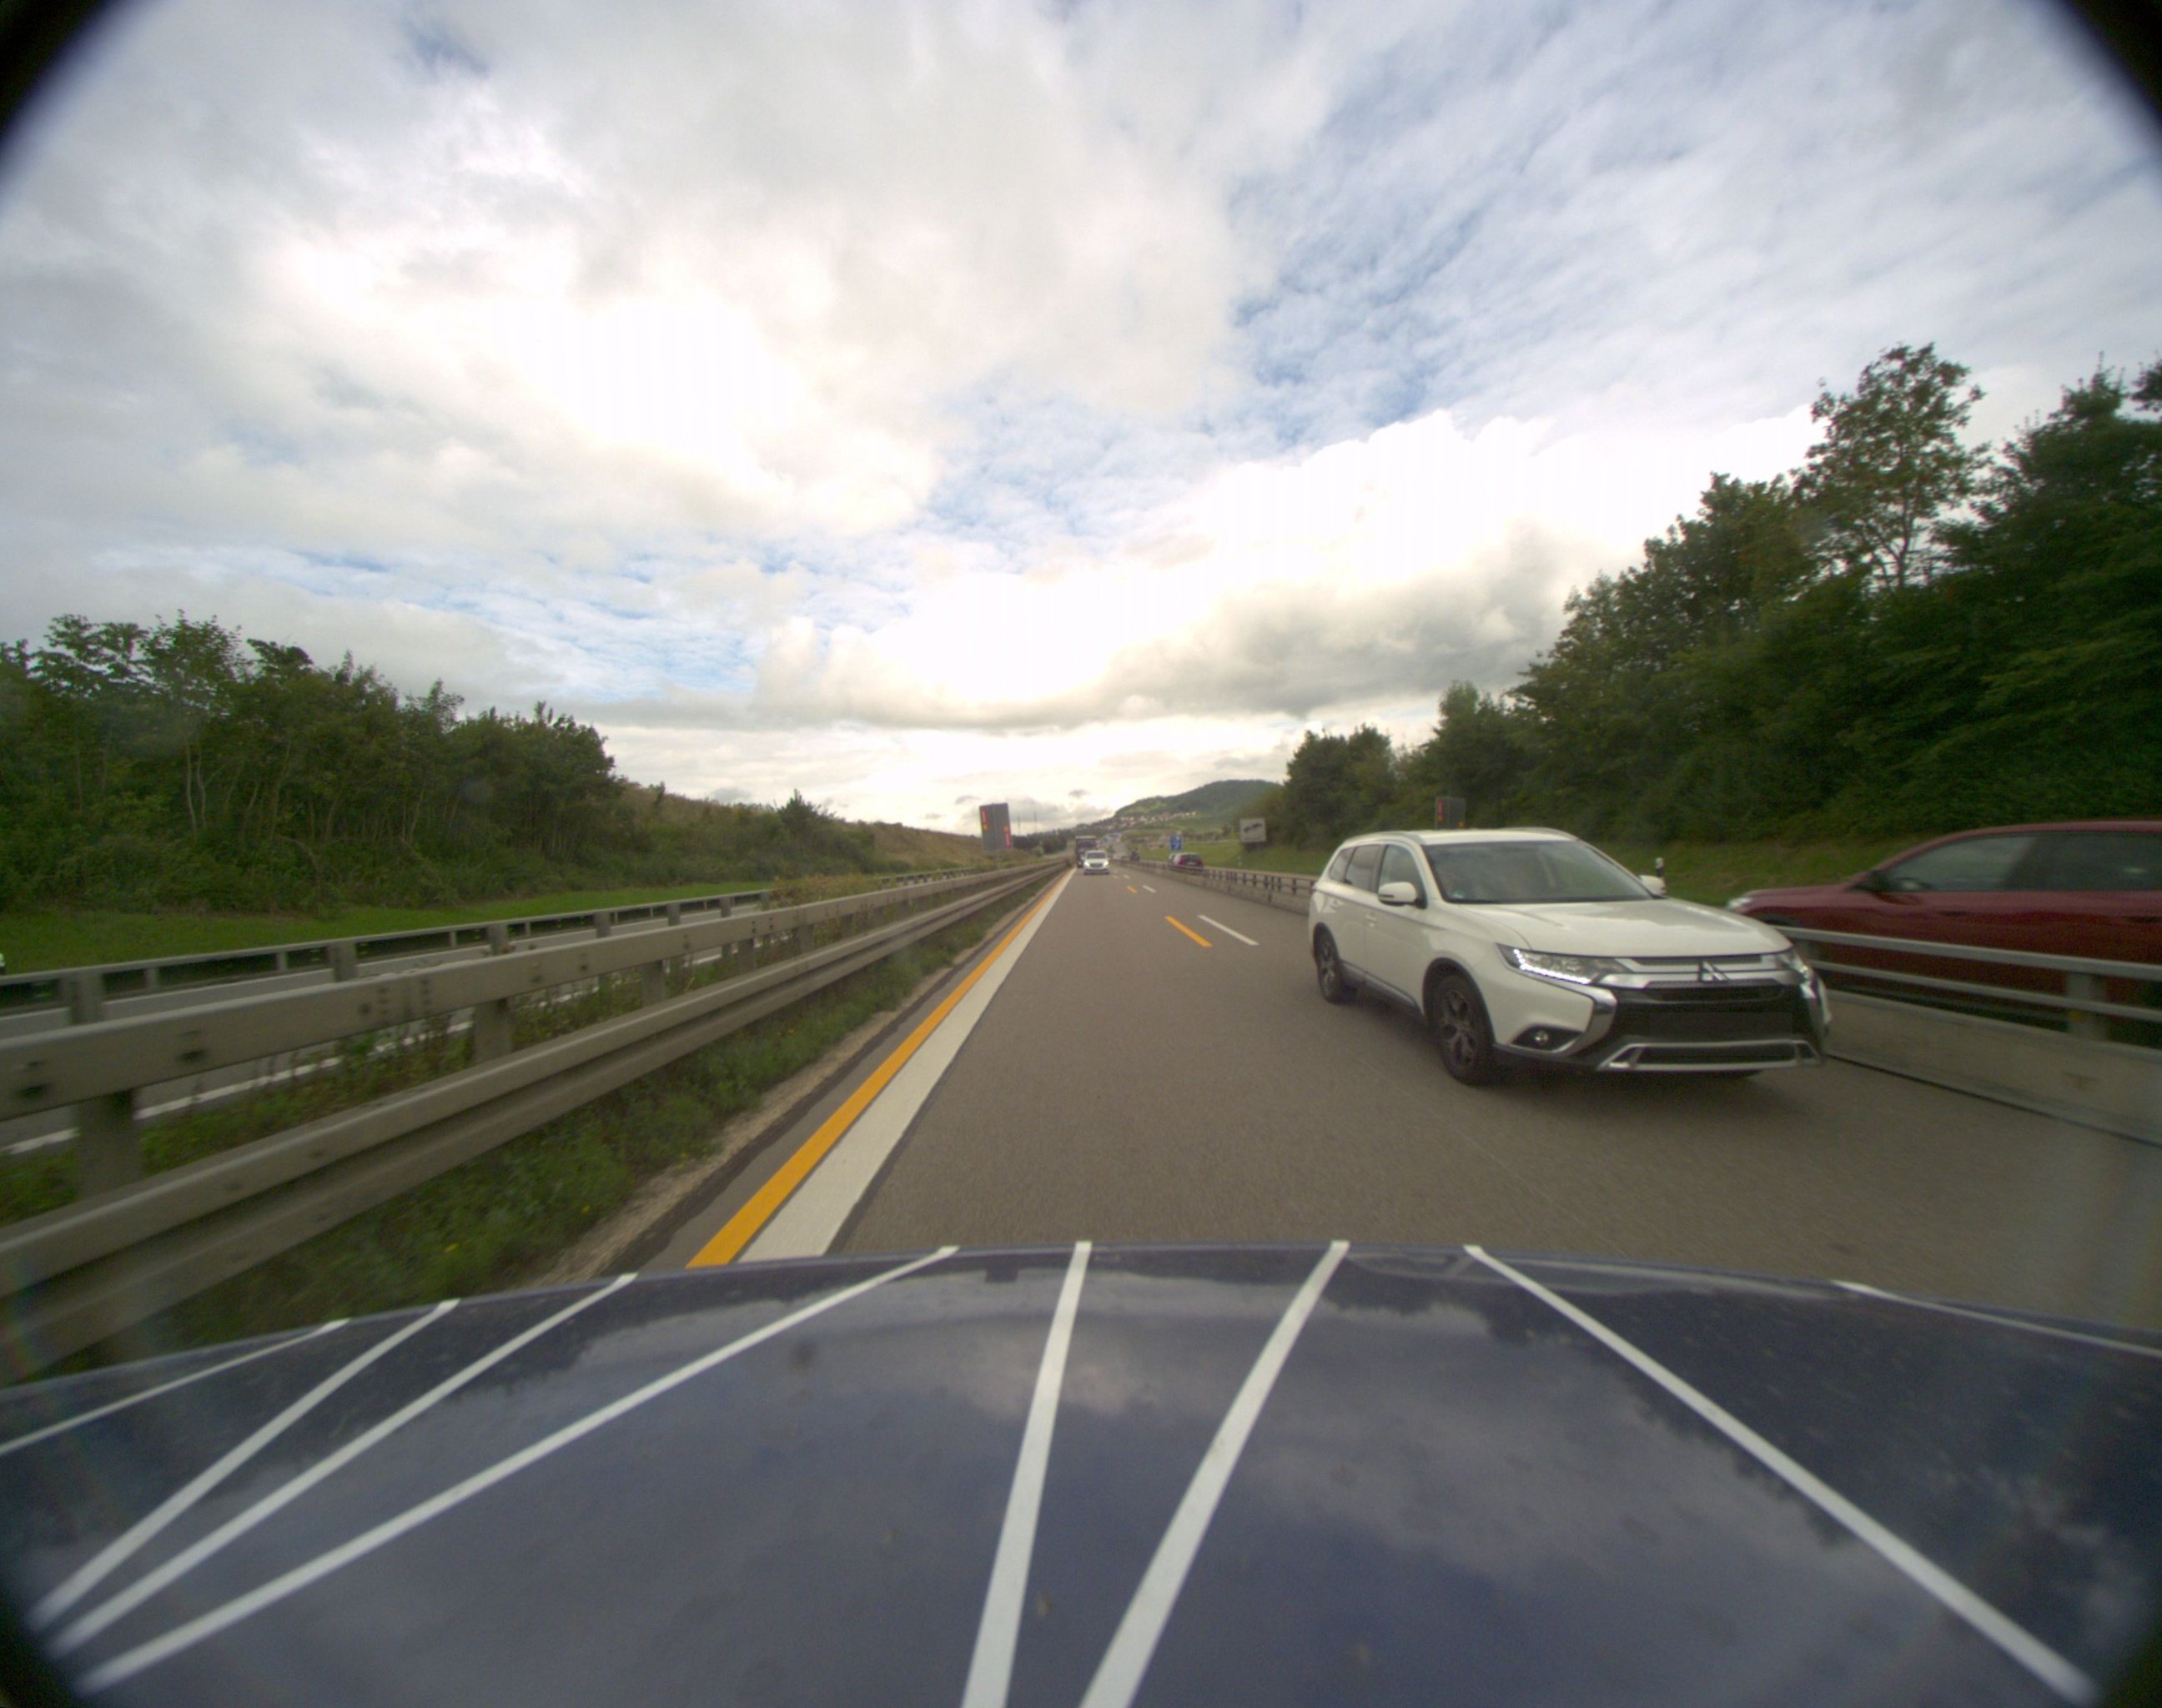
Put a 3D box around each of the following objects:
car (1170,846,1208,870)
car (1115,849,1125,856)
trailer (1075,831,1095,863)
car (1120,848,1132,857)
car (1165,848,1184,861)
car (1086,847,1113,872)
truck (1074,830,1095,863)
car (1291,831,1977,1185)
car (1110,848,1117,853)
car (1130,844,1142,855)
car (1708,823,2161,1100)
[{"bbox_3d":[7.399,0.252,52.337,2.003,1.491,4.900,-2,0,1],"label":"car"},{"bbox_3d":[8.896,-0.462,173.362,1.998,1.512,4.669,-2,0,0],"label":"car"},{"bbox_3d":[0.619,-0.996,104.029,2.521,4.081,11.112,-2,1,1],"label":"trailer"},{"bbox_3d":[8.314,-0.252,140.352,1.998,1.512,4.952,-2,0,0],"label":"car"},{"bbox_3d":[10.671,0.028,87.065,1.673,1.431,3.787,-2,1,1],"label":"car"},{"bbox_3d":[1.398,0.388,59.156,1.991,1.788,4.585,-2,1,1],"label":"car"},{"bbox_3d":[0.520,-0.938,98.726,2.521,4.081,5.684,-2,1,1],"label":"truck"},{"bbox_3d":[3.224,0.713,5.859,1.998,1.618,4.607,-1,0,1],"label":"car"},{"bbox_3d":[9.492,-0.957,224.246,1.941,1.460,4.589,-1,0,1],"label":"car"},{"bbox_3d":[11.562,-0.863,159.266,1.999,2.239,5.049,-2,0,-1],"label":"car"},{"bbox_3d":[6.911,0.568,4.872,1.939,1.482,4.588,-3,0,0],"label":"car"}]
